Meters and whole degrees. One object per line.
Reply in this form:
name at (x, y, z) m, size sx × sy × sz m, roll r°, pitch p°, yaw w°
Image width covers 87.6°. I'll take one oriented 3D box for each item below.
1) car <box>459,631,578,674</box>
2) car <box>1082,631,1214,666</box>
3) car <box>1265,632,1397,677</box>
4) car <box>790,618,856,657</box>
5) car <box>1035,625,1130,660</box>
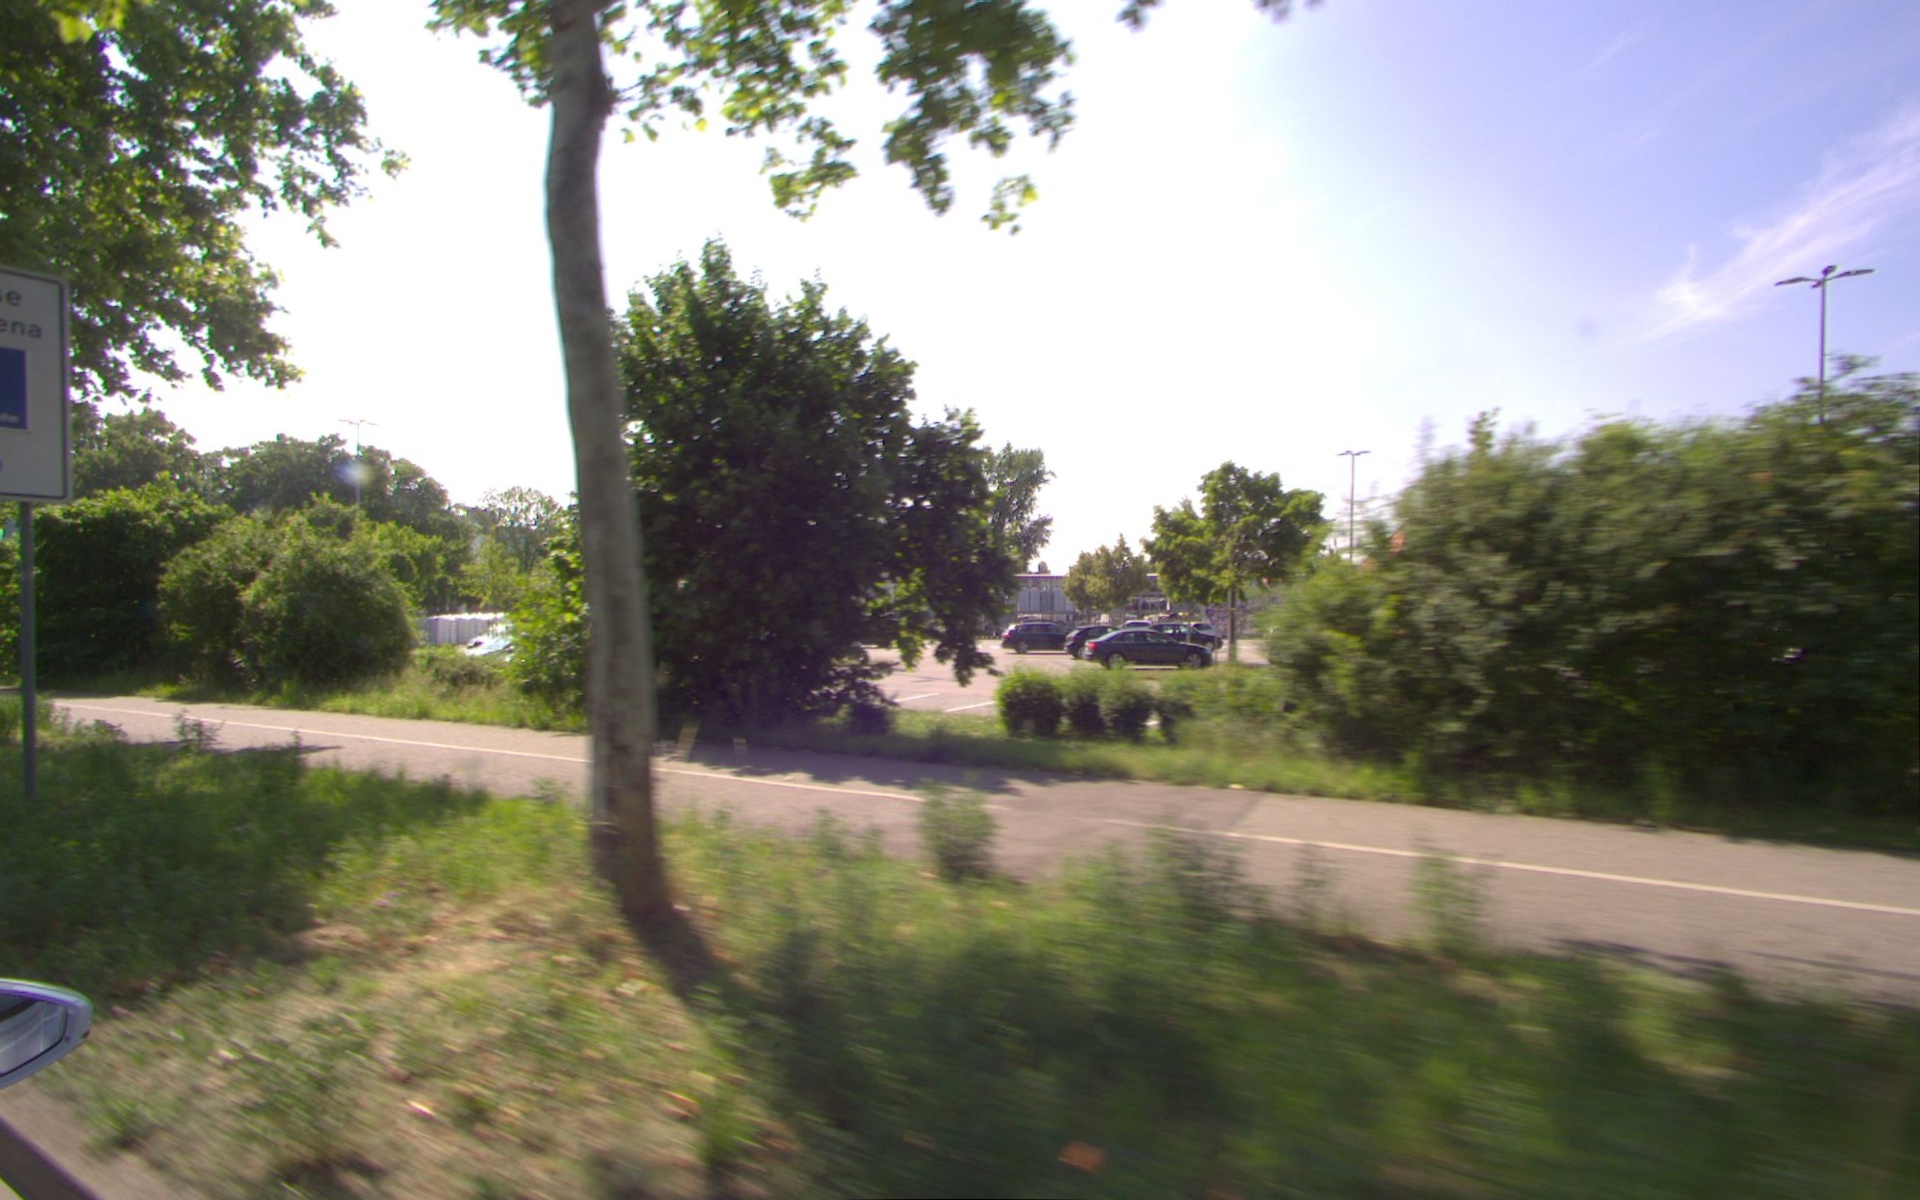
car at (-14.418, 1.683, 32.821) m, size 1.427 × 1.327 × 3.313 m, roll -1°, pitch -2°, yaw 36°
car at (6.664, 1.729, 35.806) m, size 4.423 × 1.220 × 1.644 m, roll 0°, pitch -1°, yaw 0°
car at (12.418, 1.816, 33.656) m, size 3.751 × 1.288 × 1.785 m, roll 2°, pitch -1°, yaw 0°
car at (-5.447, 1.506, 39.884) m, size 2.574 × 1.511 × 0.944 m, roll 1°, pitch -2°, yaw -9°
car at (5.222, 1.820, 42.921) m, size 3.798 × 1.460 × 1.496 m, roll 1°, pitch -2°, yaw -4°
